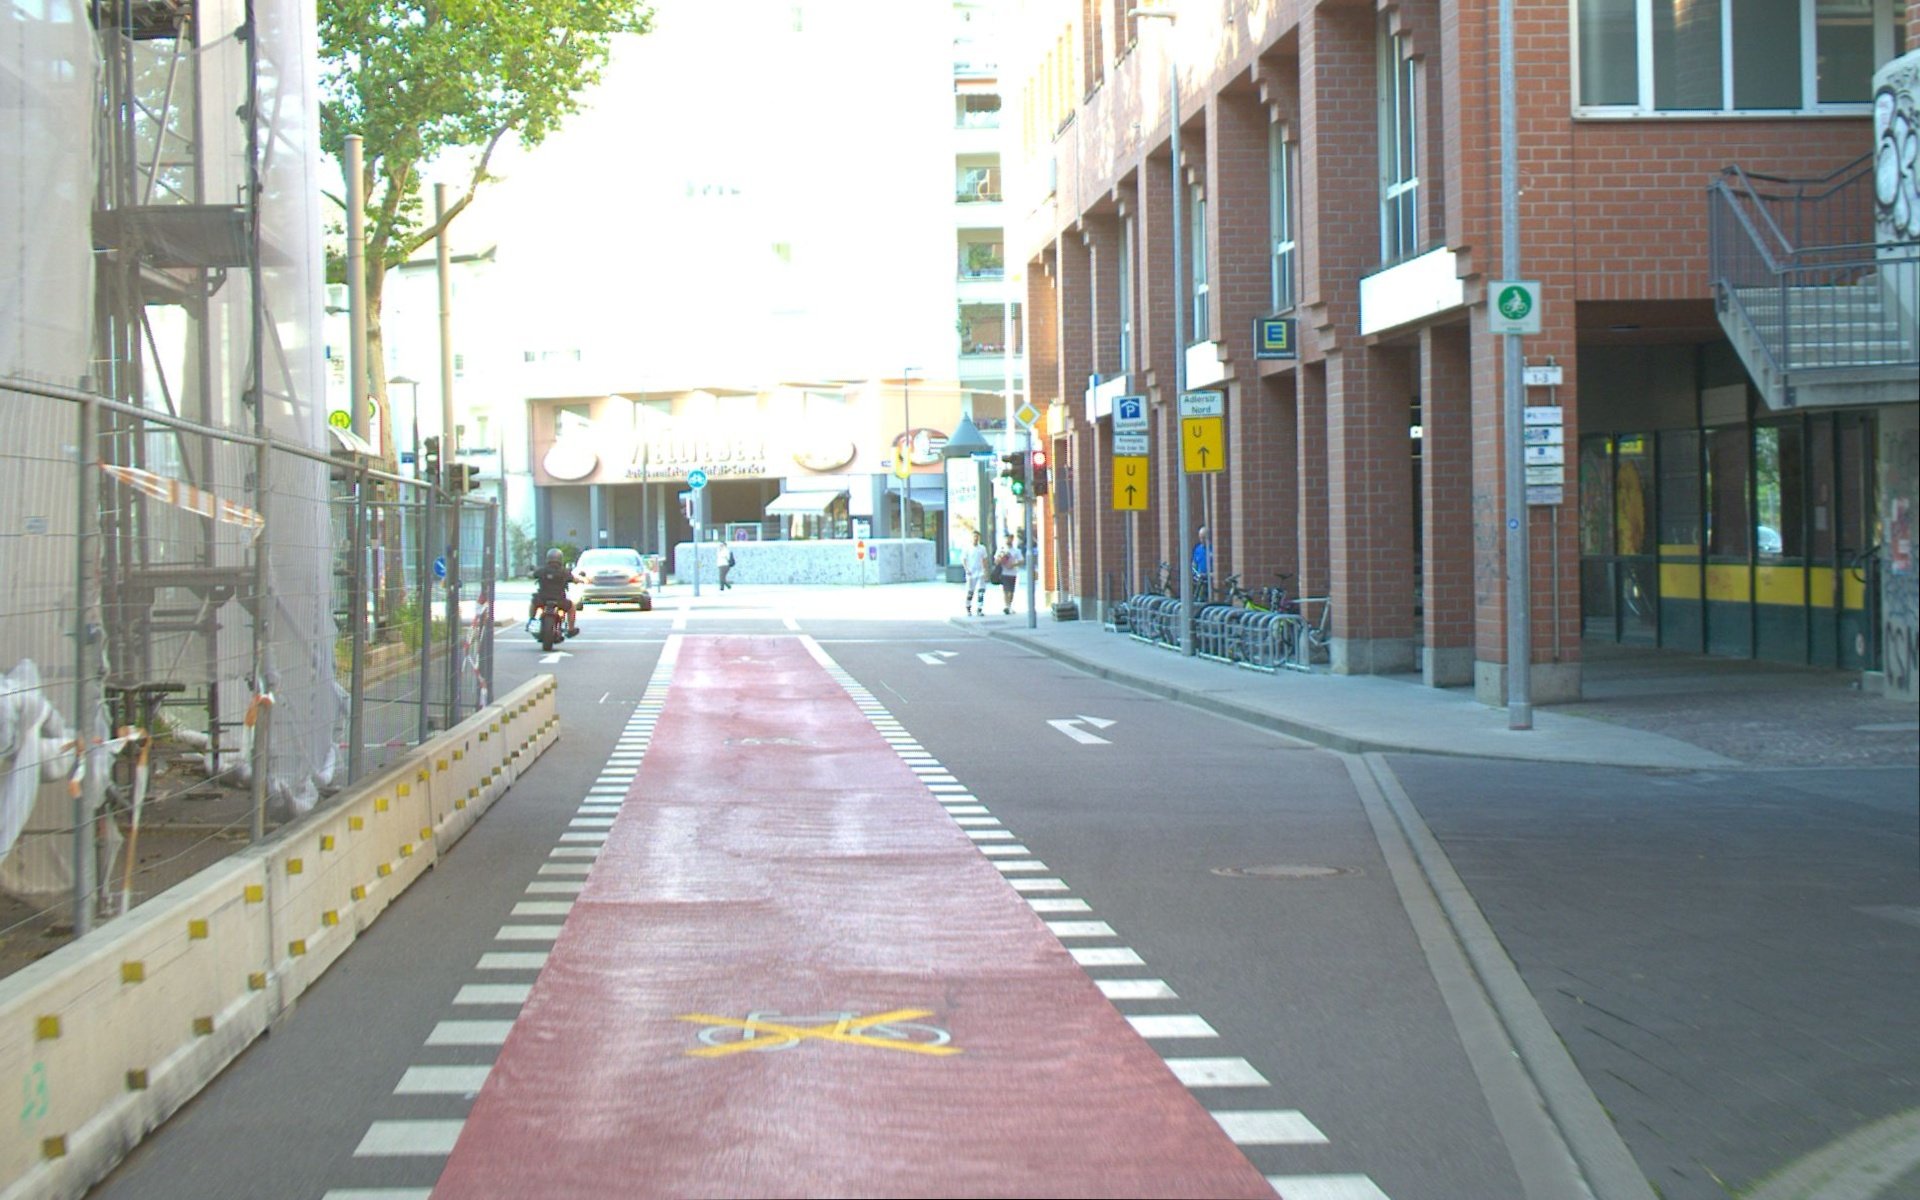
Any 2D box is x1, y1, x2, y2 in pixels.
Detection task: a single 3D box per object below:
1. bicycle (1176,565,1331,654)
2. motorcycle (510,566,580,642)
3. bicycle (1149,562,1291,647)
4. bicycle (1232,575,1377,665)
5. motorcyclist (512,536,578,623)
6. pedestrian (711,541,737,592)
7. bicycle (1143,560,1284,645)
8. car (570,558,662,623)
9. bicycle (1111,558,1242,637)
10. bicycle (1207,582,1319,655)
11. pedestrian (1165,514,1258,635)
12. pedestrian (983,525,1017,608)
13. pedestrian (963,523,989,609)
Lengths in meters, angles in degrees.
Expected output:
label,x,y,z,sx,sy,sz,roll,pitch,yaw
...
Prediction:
label,x,y,z,sx,sy,sz,roll,pitch,yaw
bicycle,3.871,0.121,45.338,1.933,1.053,0.573,-3,1,-1
motorcycle,-6.481,0.045,53.792,0.973,1.128,2.805,0,1,-5
bicycle,3.625,0.060,47.985,1.891,1.115,0.550,-2,1,-4
bicycle,4.115,0.240,41.134,1.611,0.951,0.555,-4,1,-2
motorcyclist,-6.453,-0.329,53.511,0.970,1.342,1.138,0,1,-5
pedestrian,-7.437,-1.048,108.171,0.557,1.578,0.539,0,2,43
bicycle,3.577,0.033,48.557,1.891,1.115,0.475,-2,1,-4
car,-8.077,-0.244,80.419,1.923,1.384,4.001,-1,1,-8
bicycle,3.283,-0.043,52.142,1.891,1.115,0.475,-2,1,-4
bicycle,3.862,0.235,43.876,1.334,0.838,0.425,-4,1,-2
pedestrian,3.699,-0.385,50.600,1.194,1.690,0.885,-4,1,-1
pedestrian,0.846,-0.710,72.408,0.633,1.719,0.630,-1,1,-4
pedestrian,0.332,-0.717,72.317,0.475,1.786,0.541,-1,1,-4
